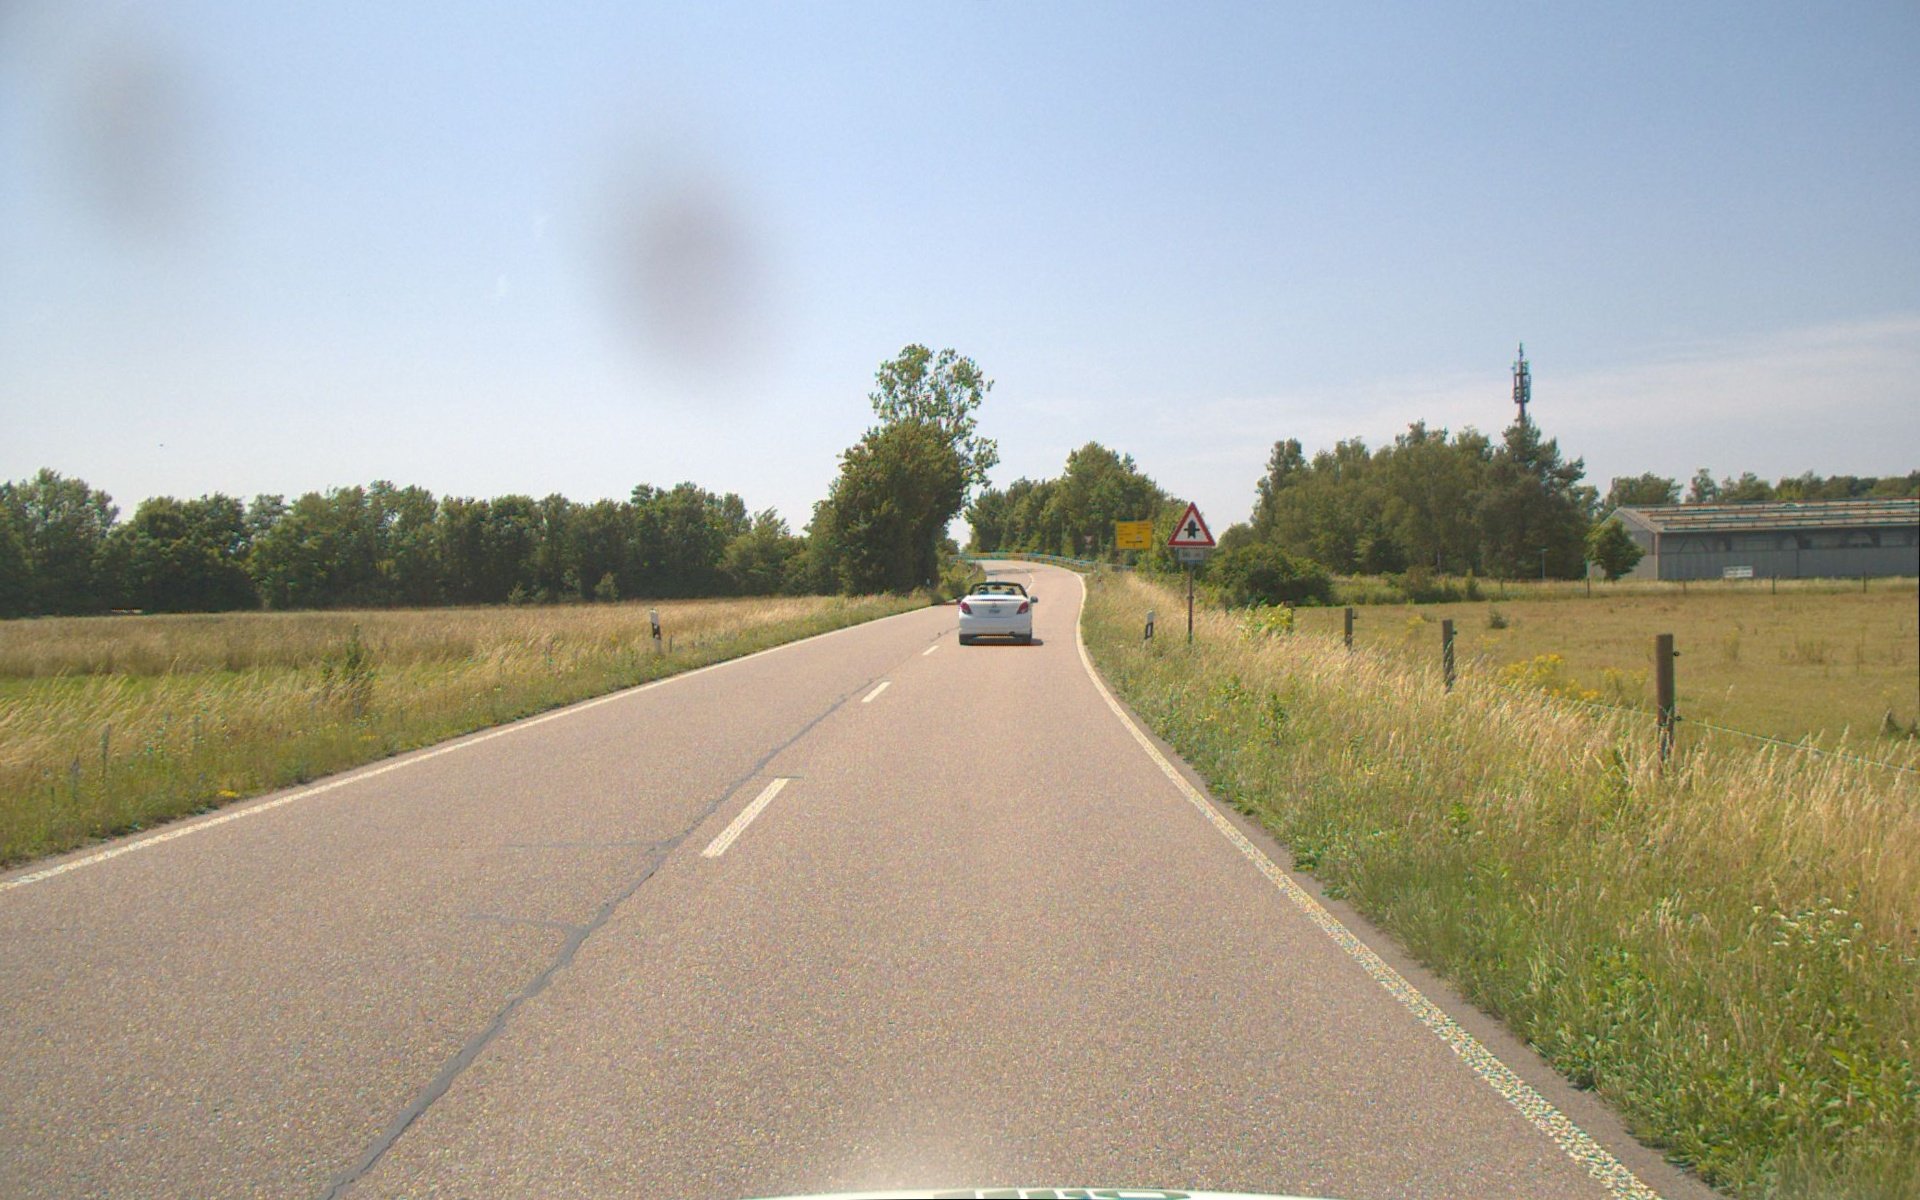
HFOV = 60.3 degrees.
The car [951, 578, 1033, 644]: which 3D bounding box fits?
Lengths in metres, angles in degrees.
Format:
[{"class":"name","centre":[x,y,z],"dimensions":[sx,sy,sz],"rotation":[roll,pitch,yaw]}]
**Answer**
[{"class":"car","centre":[0.808,0.226,38.979],"dimensions":[1.812,1.403,4.002],"rotation":[0,2,3]}]
